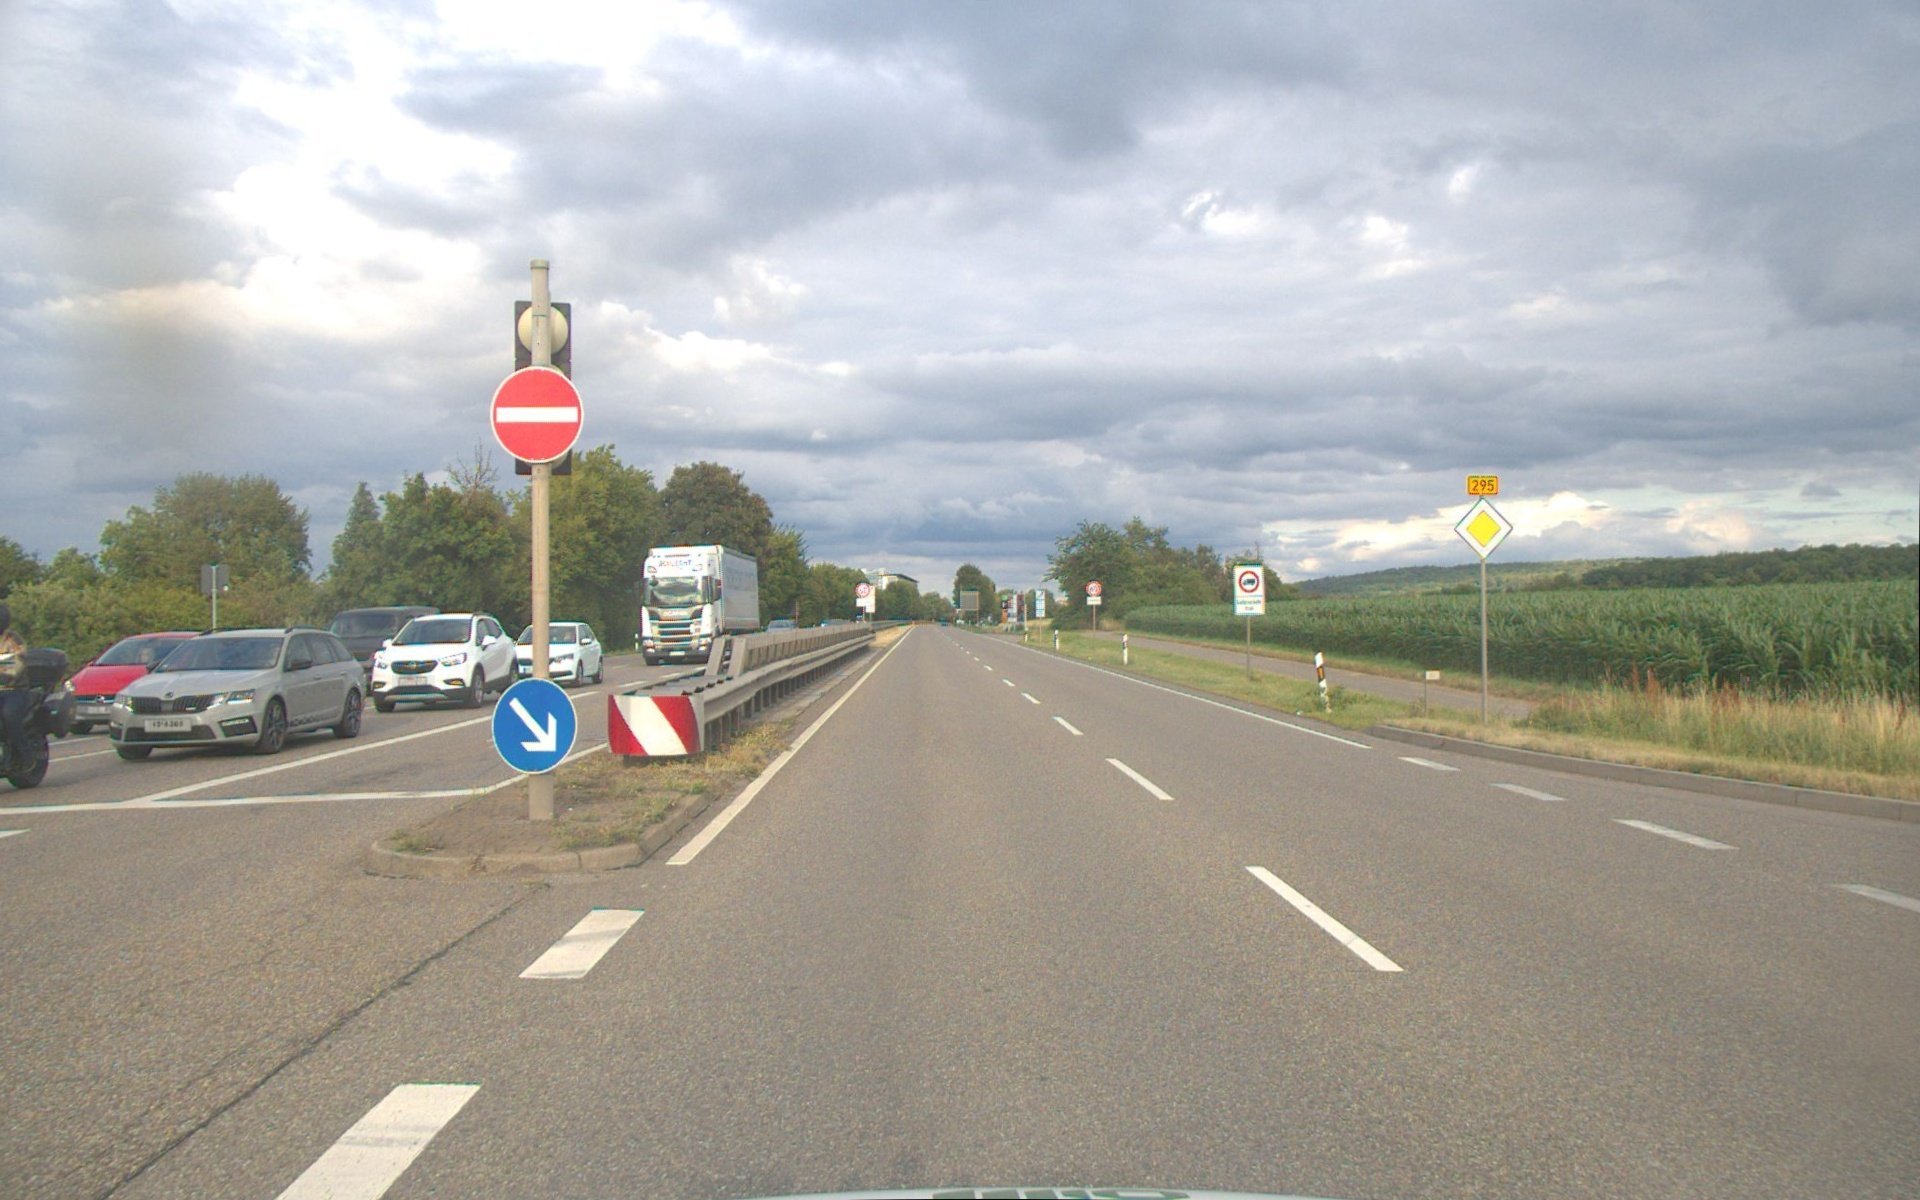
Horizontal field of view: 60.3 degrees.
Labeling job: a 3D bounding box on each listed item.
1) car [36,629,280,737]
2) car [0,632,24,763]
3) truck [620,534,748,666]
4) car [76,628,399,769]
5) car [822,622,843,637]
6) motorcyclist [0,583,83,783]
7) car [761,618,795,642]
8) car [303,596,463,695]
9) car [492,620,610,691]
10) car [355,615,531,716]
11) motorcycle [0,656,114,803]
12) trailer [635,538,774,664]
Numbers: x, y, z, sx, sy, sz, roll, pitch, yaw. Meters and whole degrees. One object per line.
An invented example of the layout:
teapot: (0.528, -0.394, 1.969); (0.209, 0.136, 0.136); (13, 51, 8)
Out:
car: (-12.481, 1.238, 26.059); (1.869, 1.491, 4.182); (-1, 0, -2)
car: (-12.385, 1.170, 17.835); (1.869, 1.562, 4.937); (-1, 0, -2)
truck: (-9.483, 0.032, 57.525); (3.404, 4.223, 6.047); (-2, -1, -1)
car: (-8.778, 1.122, 20.669); (1.869, 1.453, 5.150); (-1, 0, -2)
car: (-12.969, 3.000, 168.116); (1.829, 1.503, 4.823); (-1, 0, -2)
motorcyclist: (-8.737, 0.741, 14.971); (0.898, 1.739, 1.275); (-2, -1, -1)
car: (-11.248, 1.865, 102.533); (1.753, 1.410, 4.159); (-1, 0, -2)
car: (-13.081, 1.013, 37.851); (1.953, 2.049, 4.945); (-2, -1, -1)
car: (-9.331, 1.230, 38.053); (1.753, 1.470, 4.159); (-1, 0, -2)
car: (-9.219, 1.109, 29.865); (1.869, 1.638, 4.403); (-1, 0, -2)
motorcycle: (-8.735, 1.159, 14.965); (0.898, 1.224, 2.478); (-2, -1, -1)
trailer: (-9.620, 0.102, 64.209); (3.395, 4.223, 13.911); (-2, -1, -1)
